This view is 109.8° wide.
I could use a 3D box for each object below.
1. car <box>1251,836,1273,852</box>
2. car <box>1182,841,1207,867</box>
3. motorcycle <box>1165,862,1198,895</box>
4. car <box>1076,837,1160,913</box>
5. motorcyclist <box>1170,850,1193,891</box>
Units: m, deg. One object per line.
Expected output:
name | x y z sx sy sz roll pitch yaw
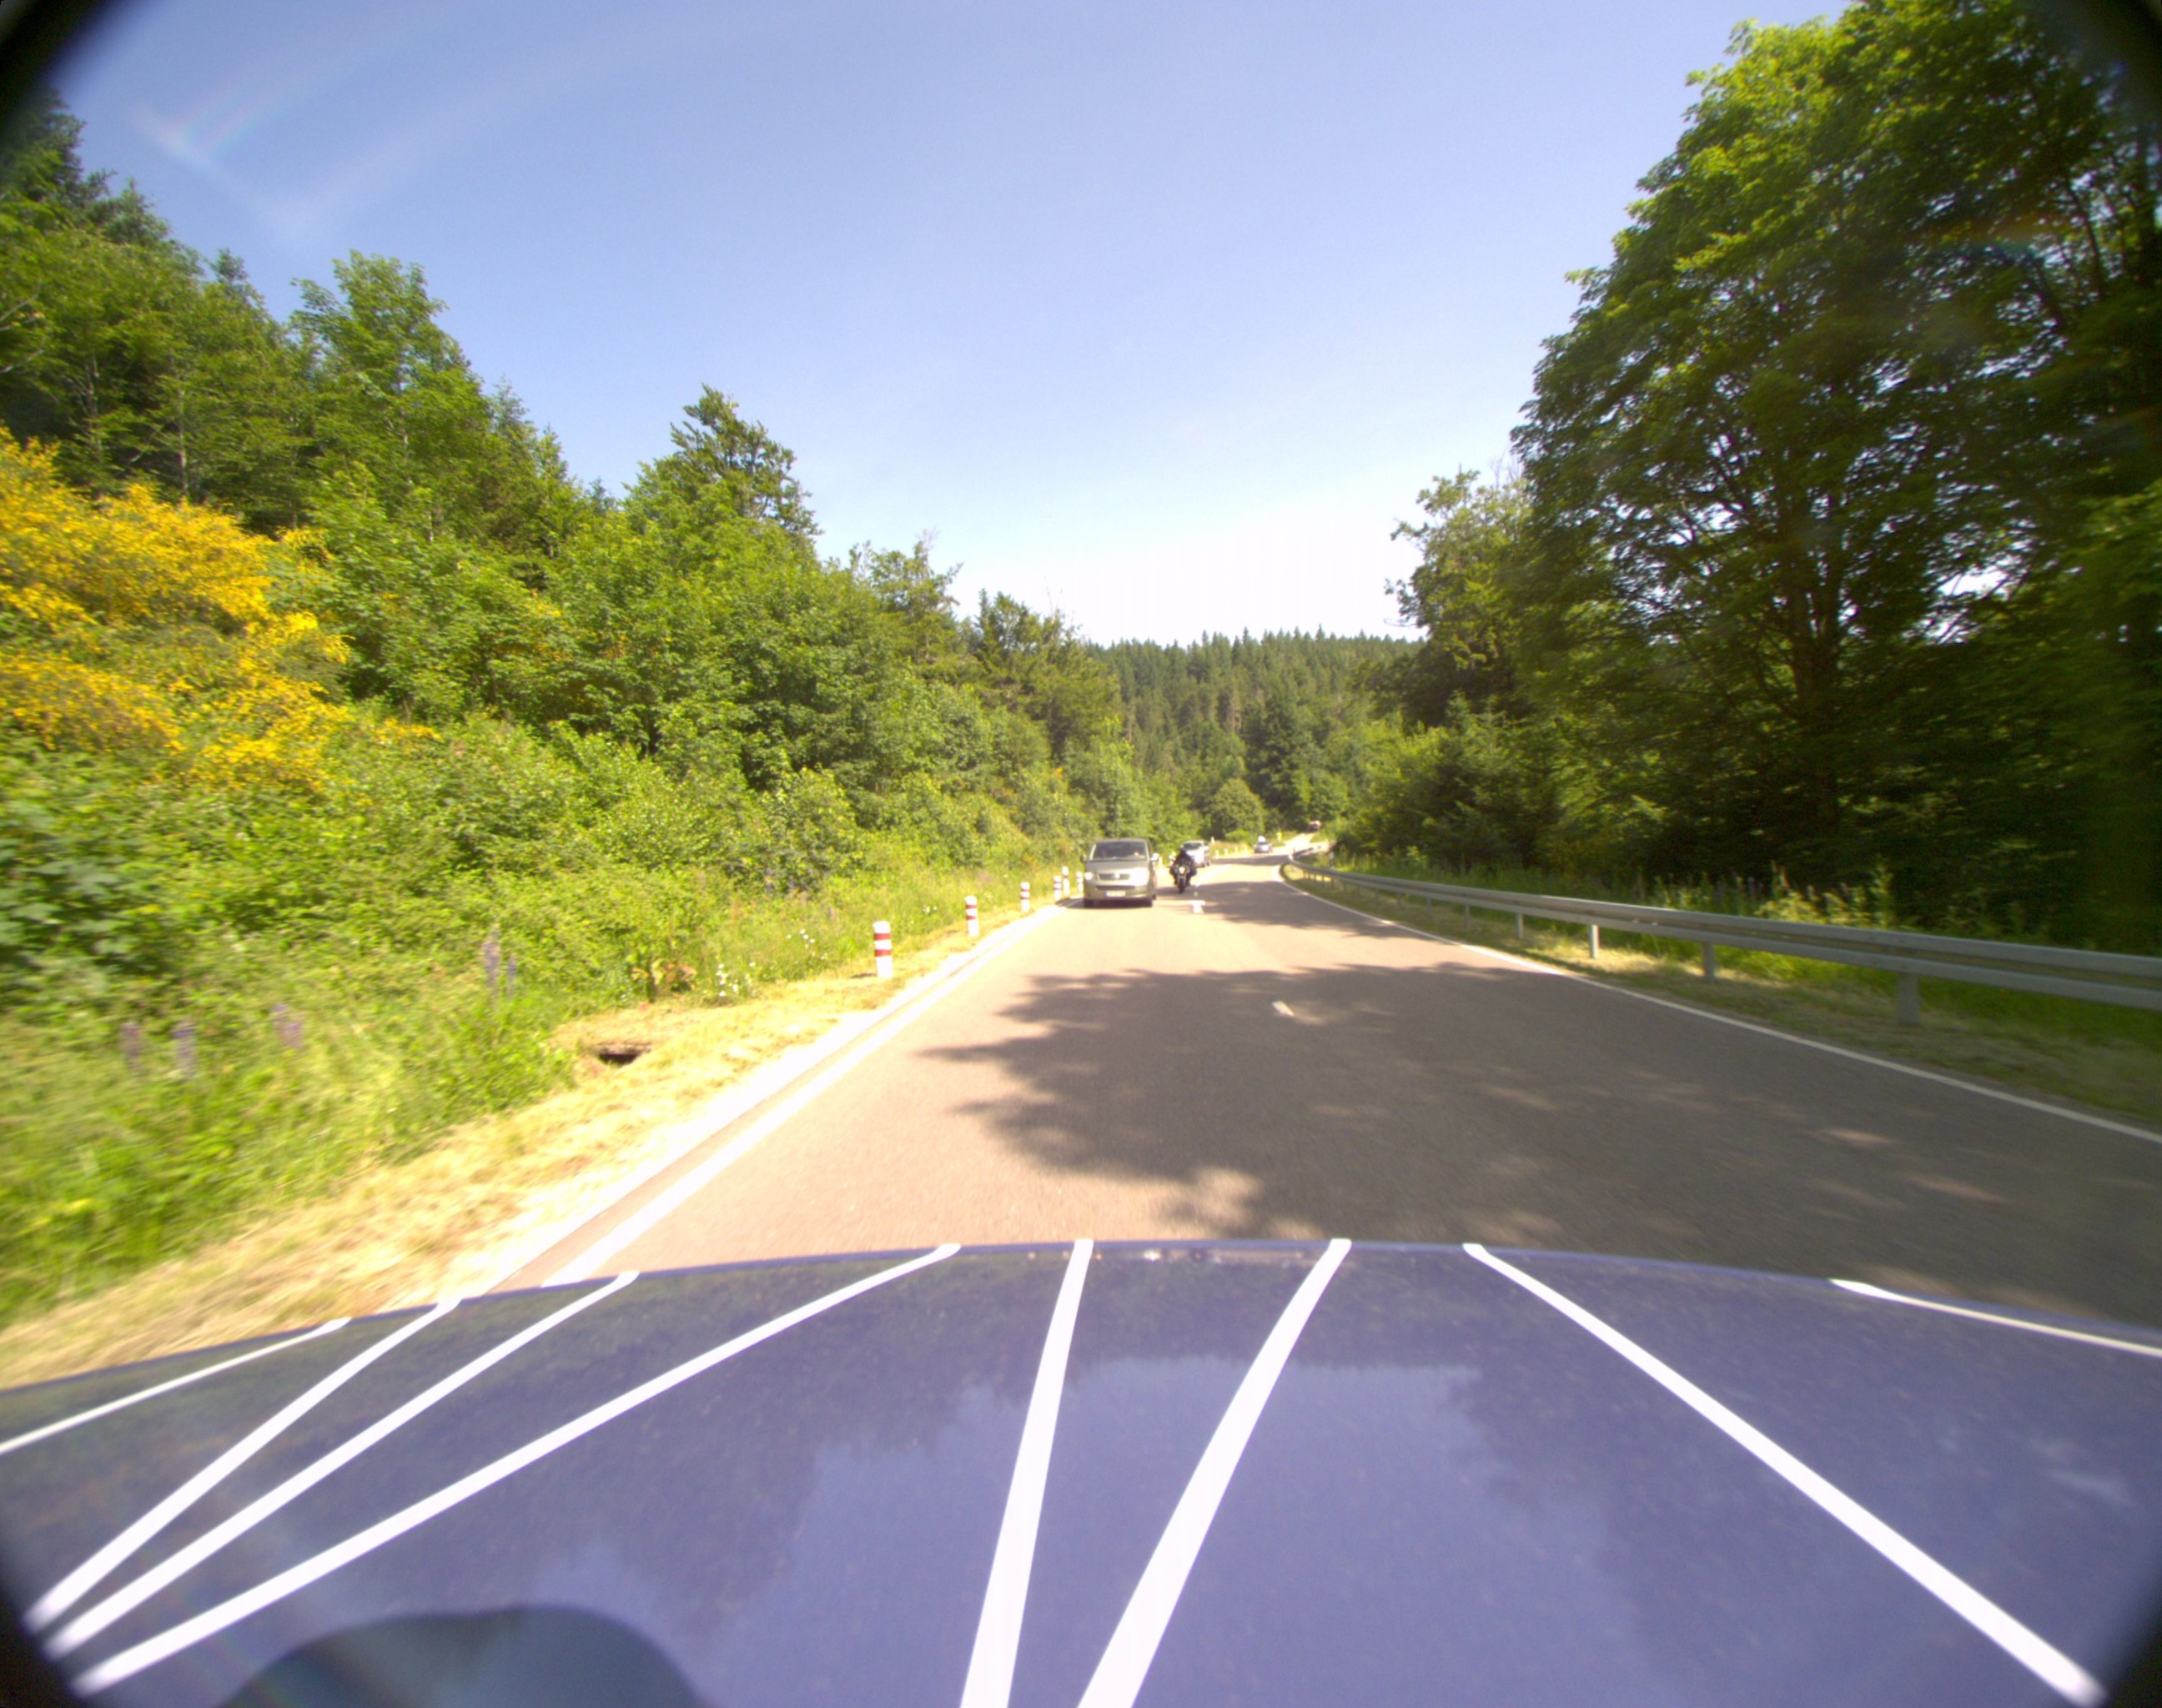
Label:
car | 21.266 -1.208 89.083 1.996 1.634 4.004 -2 1 20
car | 8.157 -0.018 54.395 1.651 1.749 3.796 -1 1 10
motorcycle | 3.634 0.863 27.392 1.109 1.117 1.962 -2 0 8
car | 1.219 0.535 22.270 2.028 1.940 4.901 -1 0 8
motorcyclist | 3.607 0.583 27.298 0.716 1.422 1.000 -3 1 9
